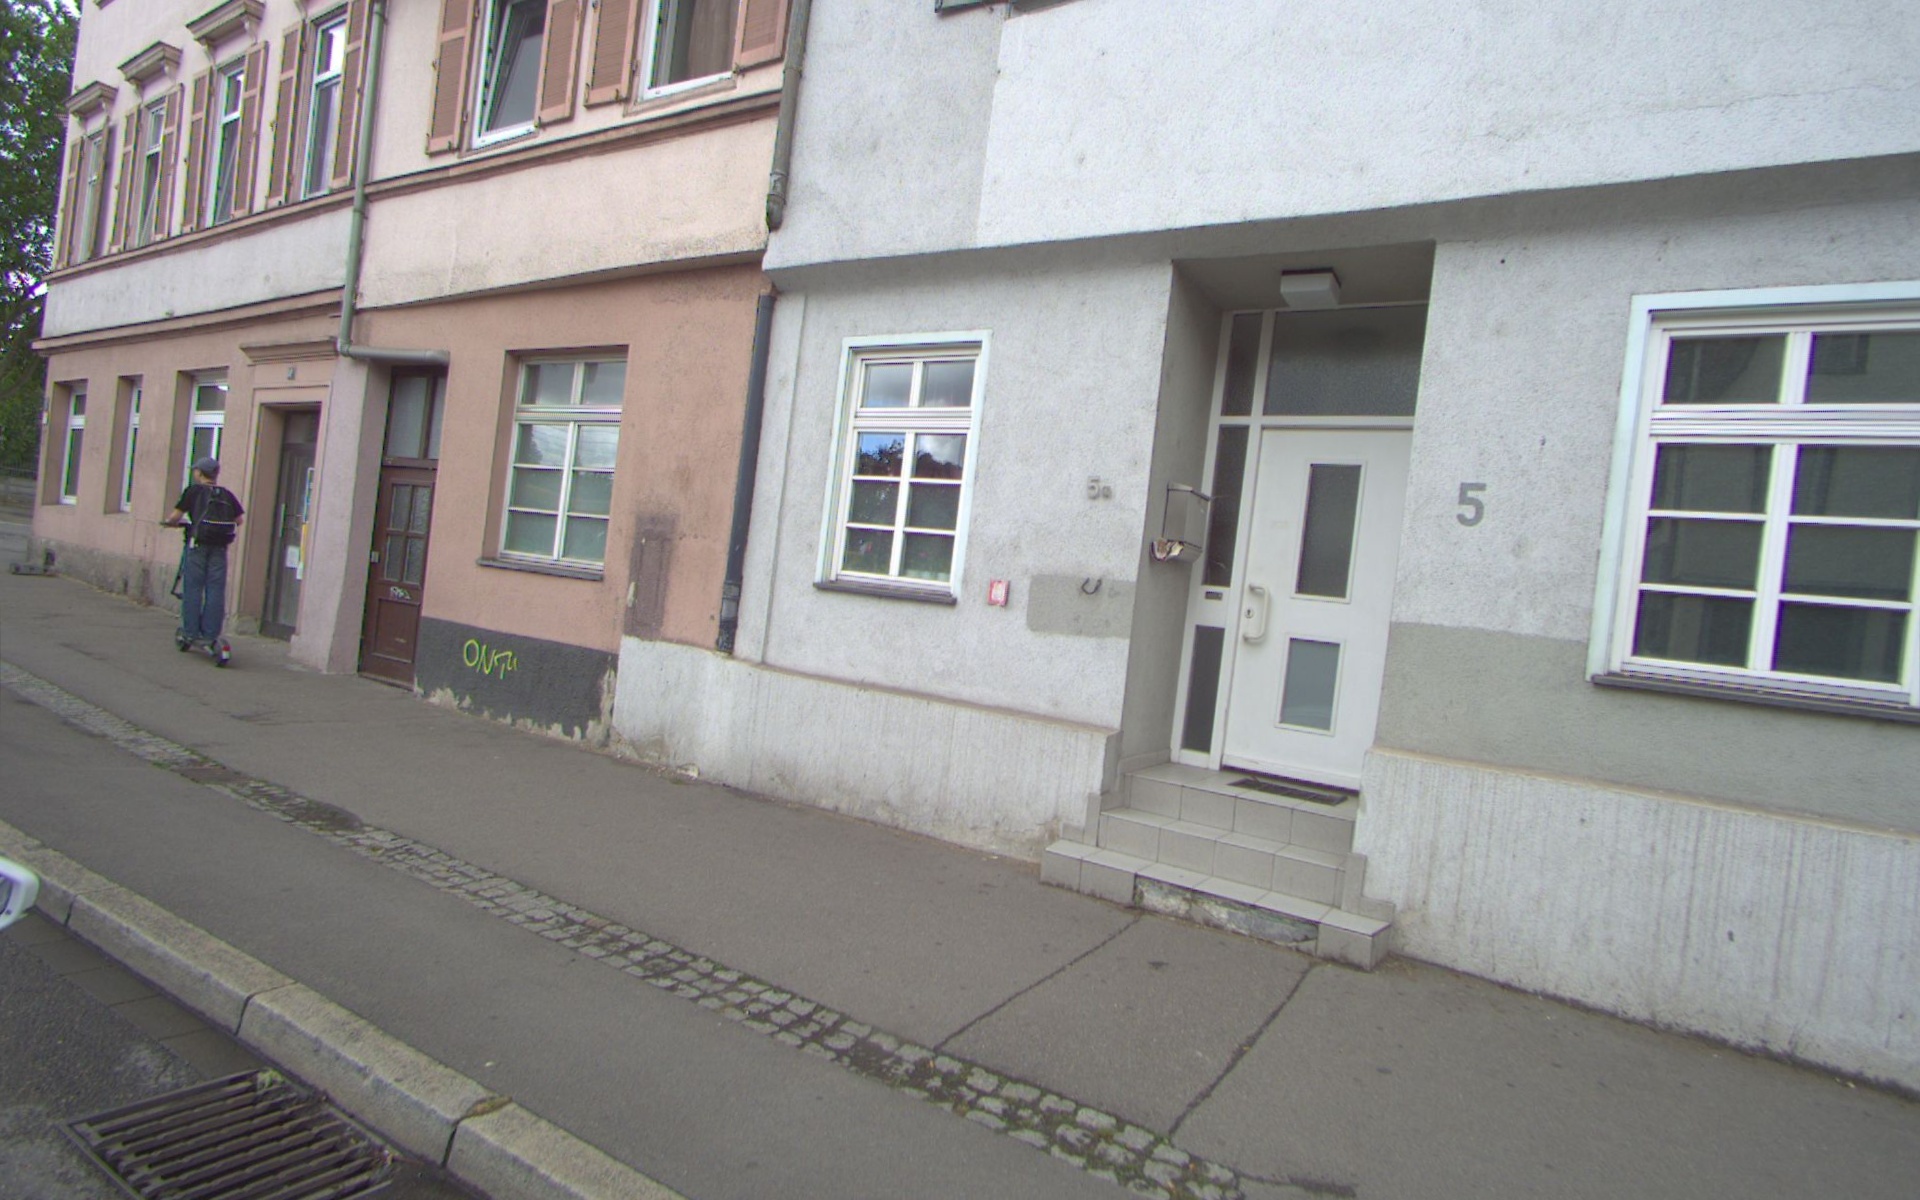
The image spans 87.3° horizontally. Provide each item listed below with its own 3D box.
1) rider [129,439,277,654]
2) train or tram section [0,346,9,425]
[{"bbox_3d":[-7.052,-0.483,9.376,0.784,1.870,0.718,7,1,32],"label":"rider"},{"bbox_3d":[-29.437,-5.042,17.392,3.207,4.053,18.815,10,1,25],"label":"train or tram section"}]
